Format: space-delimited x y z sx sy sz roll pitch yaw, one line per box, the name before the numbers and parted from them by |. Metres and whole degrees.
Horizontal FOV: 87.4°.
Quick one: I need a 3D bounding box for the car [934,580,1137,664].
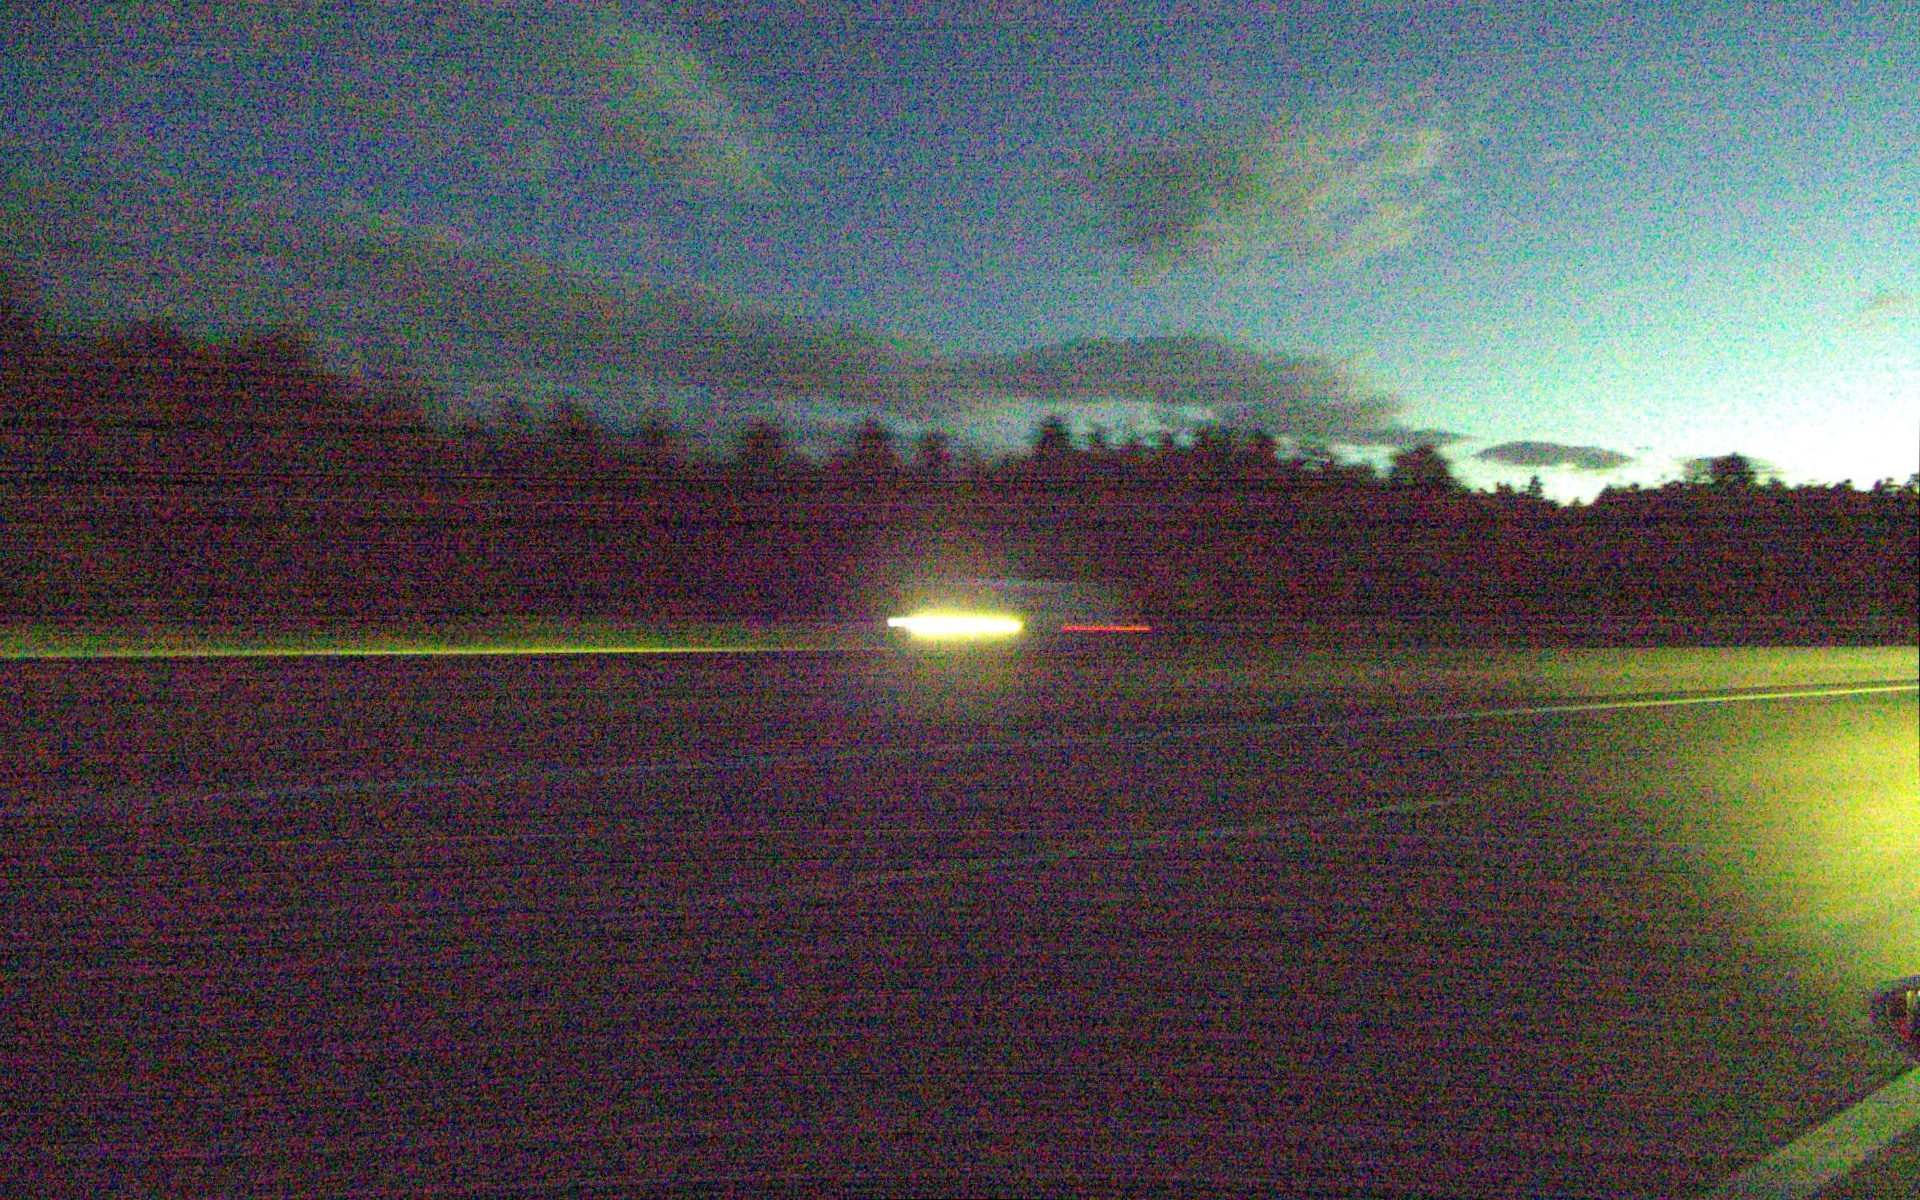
car | 2.046 0.607 26.654 5.125 2.040 2.017 2 0 -30
